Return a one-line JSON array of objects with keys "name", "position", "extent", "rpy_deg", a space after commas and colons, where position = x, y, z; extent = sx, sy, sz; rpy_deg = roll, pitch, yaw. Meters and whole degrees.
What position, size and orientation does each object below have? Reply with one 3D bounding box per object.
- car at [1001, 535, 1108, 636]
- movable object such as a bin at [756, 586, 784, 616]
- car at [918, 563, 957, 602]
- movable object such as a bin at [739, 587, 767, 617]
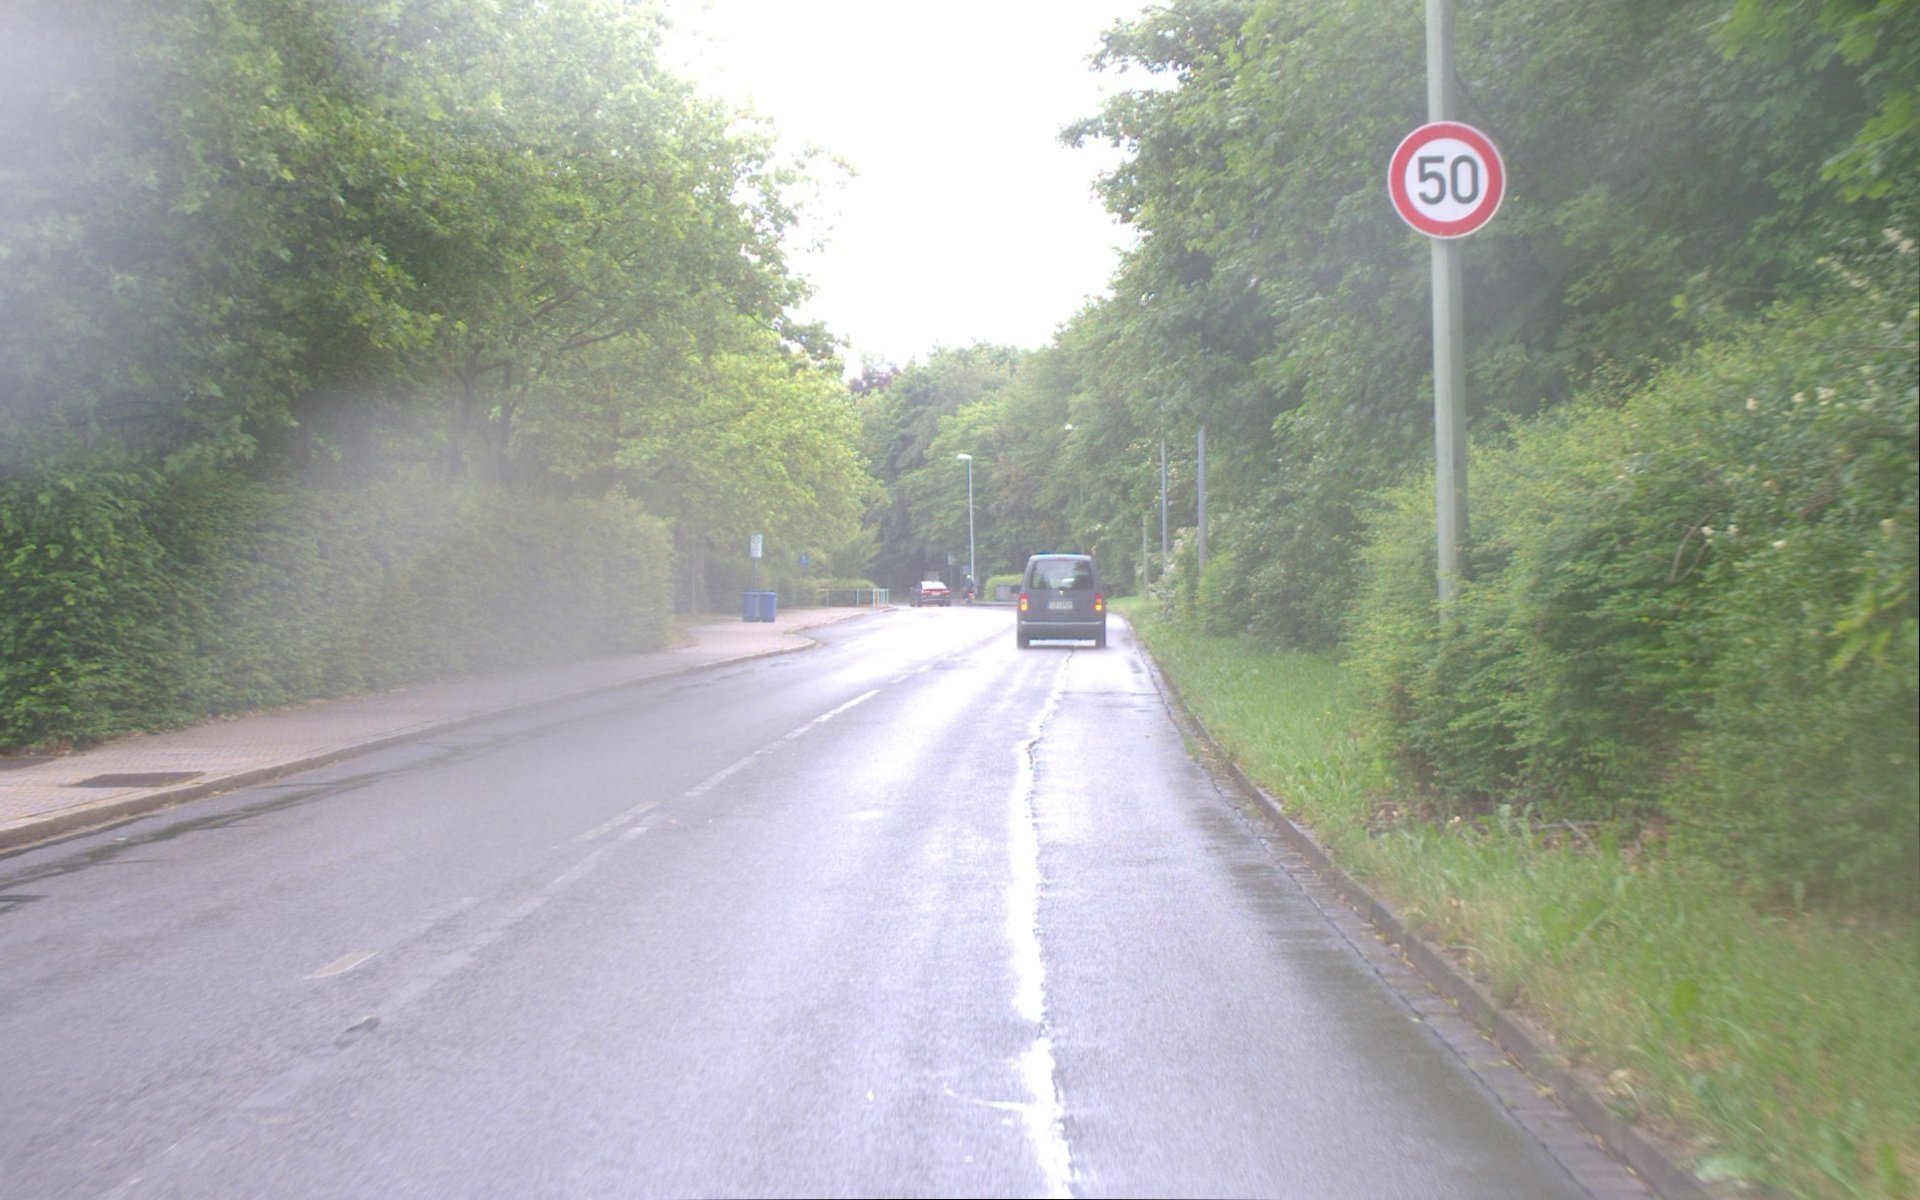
[{"name": "car", "position": [1.851, -0.317, 67.907], "extent": [1.993, 1.787, 4.000], "rpy_deg": [2, 2, 1]}, {"name": "movable object such as a bin", "position": [-6.848, 0.031, 123.909], "extent": [0.666, 1.023, 0.835], "rpy_deg": [-3, 1, -29]}, {"name": "car", "position": [-1.235, -0.976, 189.423], "extent": [1.993, 2.007, 4.000], "rpy_deg": [2, 1, 0]}, {"name": "movable object such as a bin", "position": [-7.443, 0.079, 123.525], "extent": [0.666, 1.023, 0.835], "rpy_deg": [-3, 1, -29]}]
